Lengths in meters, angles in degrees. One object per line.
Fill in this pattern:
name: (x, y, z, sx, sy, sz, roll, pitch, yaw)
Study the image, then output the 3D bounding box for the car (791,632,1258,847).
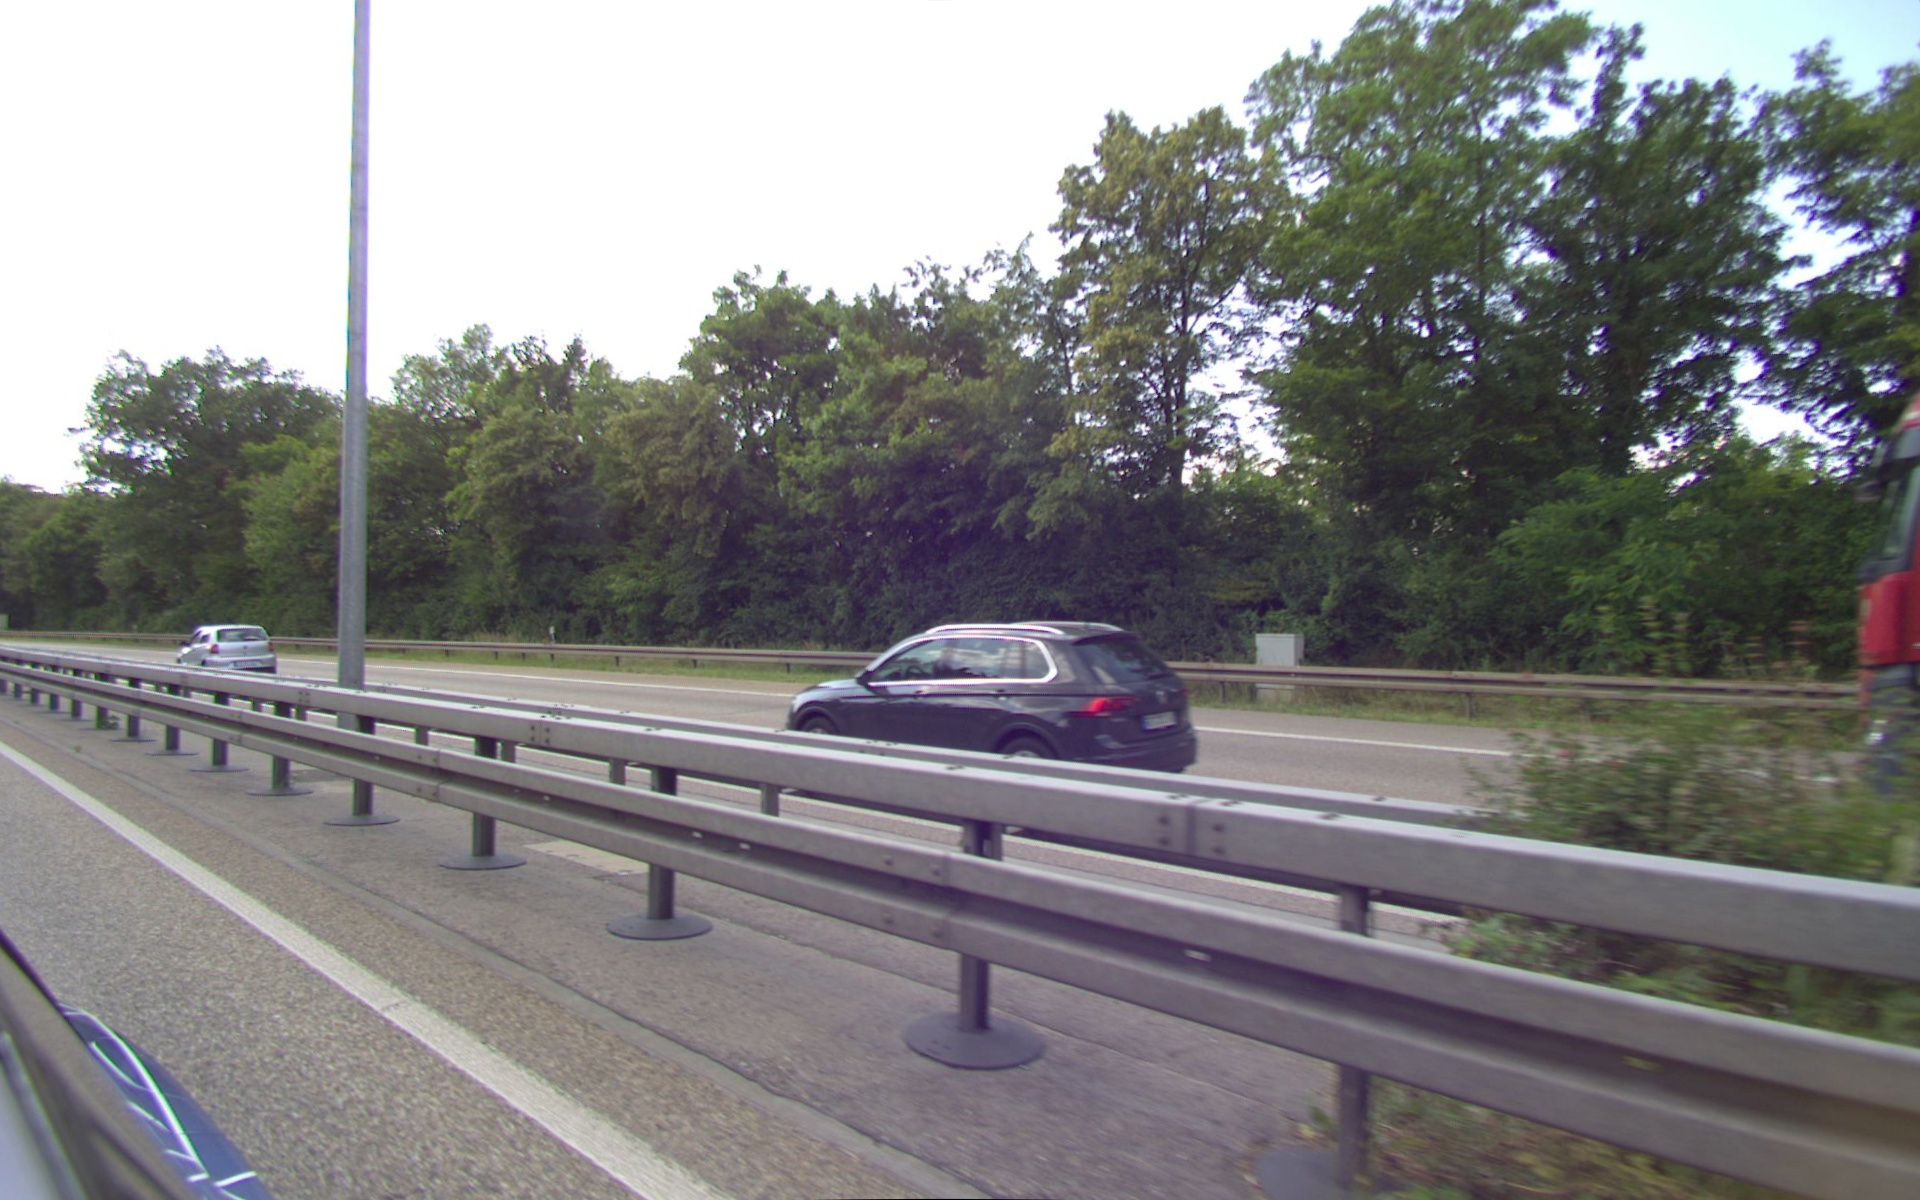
car: (0.432, 1.096, 9.523, 4.260, 1.563, 1.656, -1, -2, 41)

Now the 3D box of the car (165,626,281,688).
car: (-20.494, 1.520, 28.104, 4.028, 1.580, 1.688, -1, -2, 40)

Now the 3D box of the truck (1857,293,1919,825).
truck: (11.634, -0.343, 5.244, 10.318, 3.885, 2.924, -1, -3, 41)
